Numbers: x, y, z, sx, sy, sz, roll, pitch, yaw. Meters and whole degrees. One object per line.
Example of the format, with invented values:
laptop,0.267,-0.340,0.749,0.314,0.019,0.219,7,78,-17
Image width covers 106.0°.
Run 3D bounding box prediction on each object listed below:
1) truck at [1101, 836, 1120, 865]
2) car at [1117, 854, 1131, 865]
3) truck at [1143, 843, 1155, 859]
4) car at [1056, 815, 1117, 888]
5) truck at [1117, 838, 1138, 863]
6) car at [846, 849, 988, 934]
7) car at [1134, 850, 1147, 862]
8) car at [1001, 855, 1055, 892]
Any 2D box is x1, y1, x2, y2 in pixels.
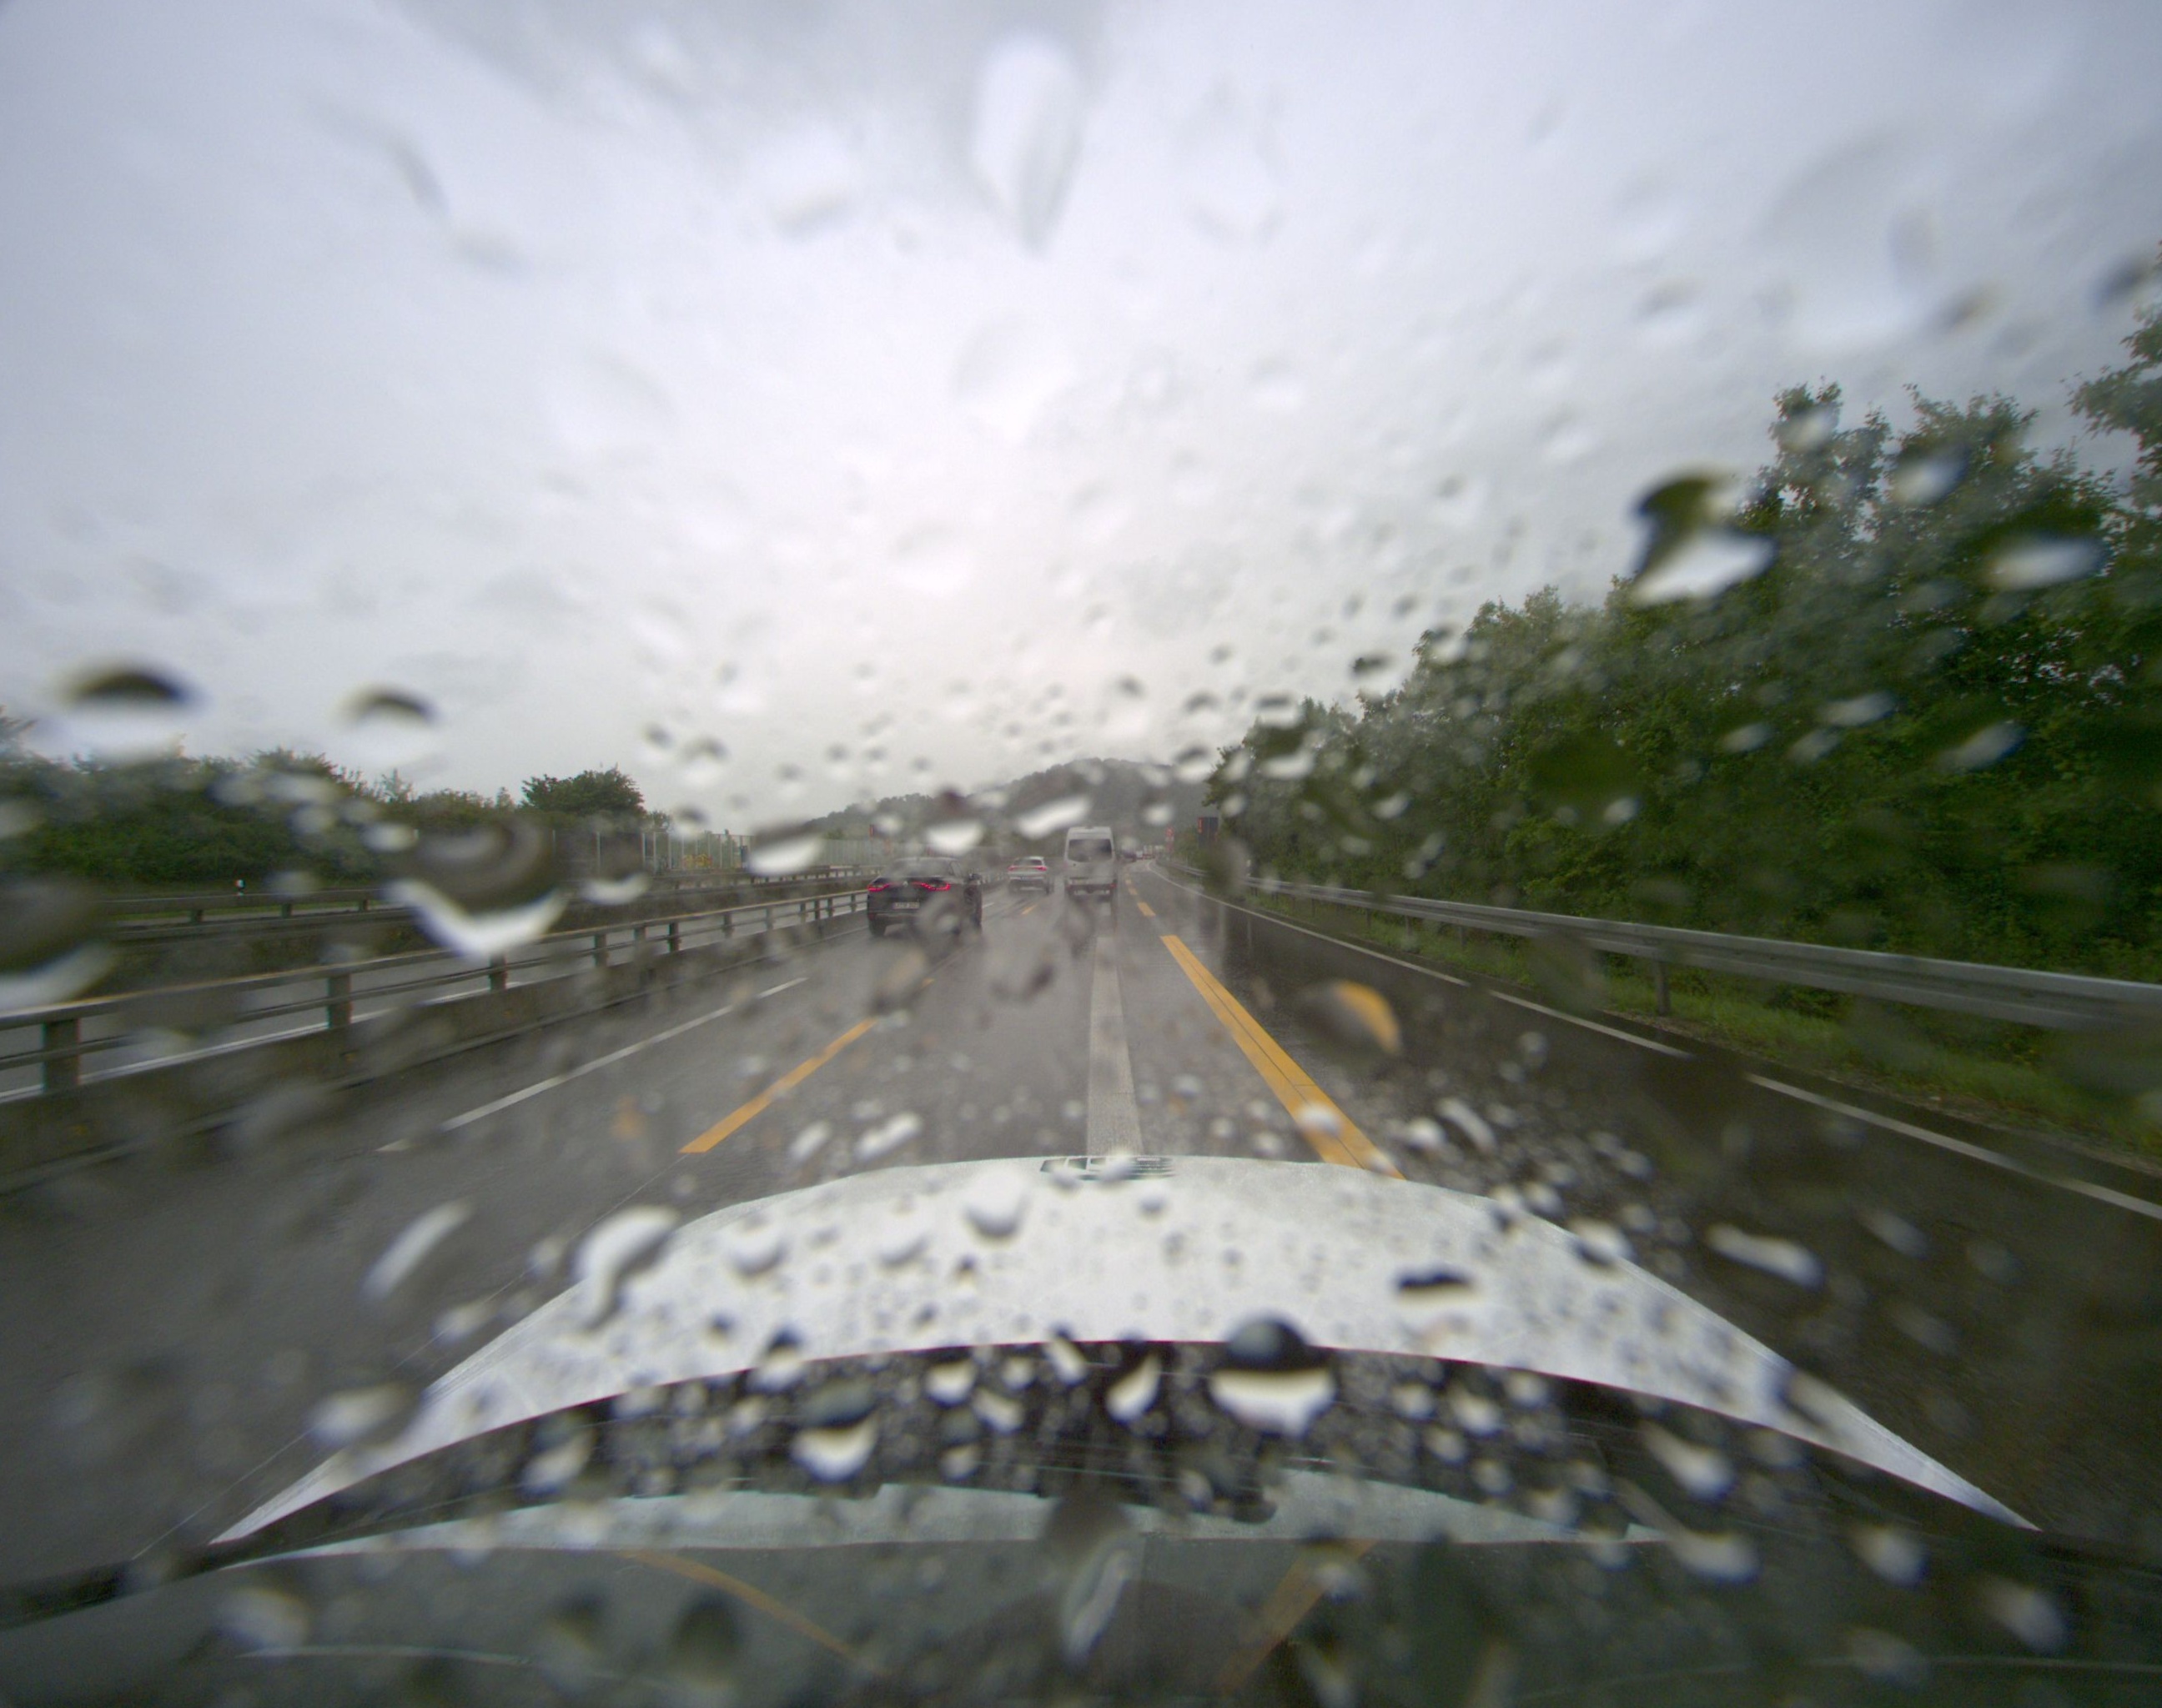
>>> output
truck,3.423,-0.315,92.355,1.985,3.109,8.504,0,-1,3
car,5.913,0.813,111.697,1.765,1.475,4.005,0,-1,5
truck,19.322,-0.786,232.255,3.020,4.406,9.643,0,-1,7
car,0.222,-0.057,31.438,2.138,2.571,5.389,0,-1,0
truck,8.716,-0.566,152.131,3.563,4.406,9.639,0,-1,6
car,-3.304,0.721,17.368,1.986,1.585,4.415,0,-1,2
car,14.537,0.591,198.525,2.882,2.887,6.426,0,-1,8
car,-2.368,0.856,37.455,1.986,1.617,4.798,0,-1,2
